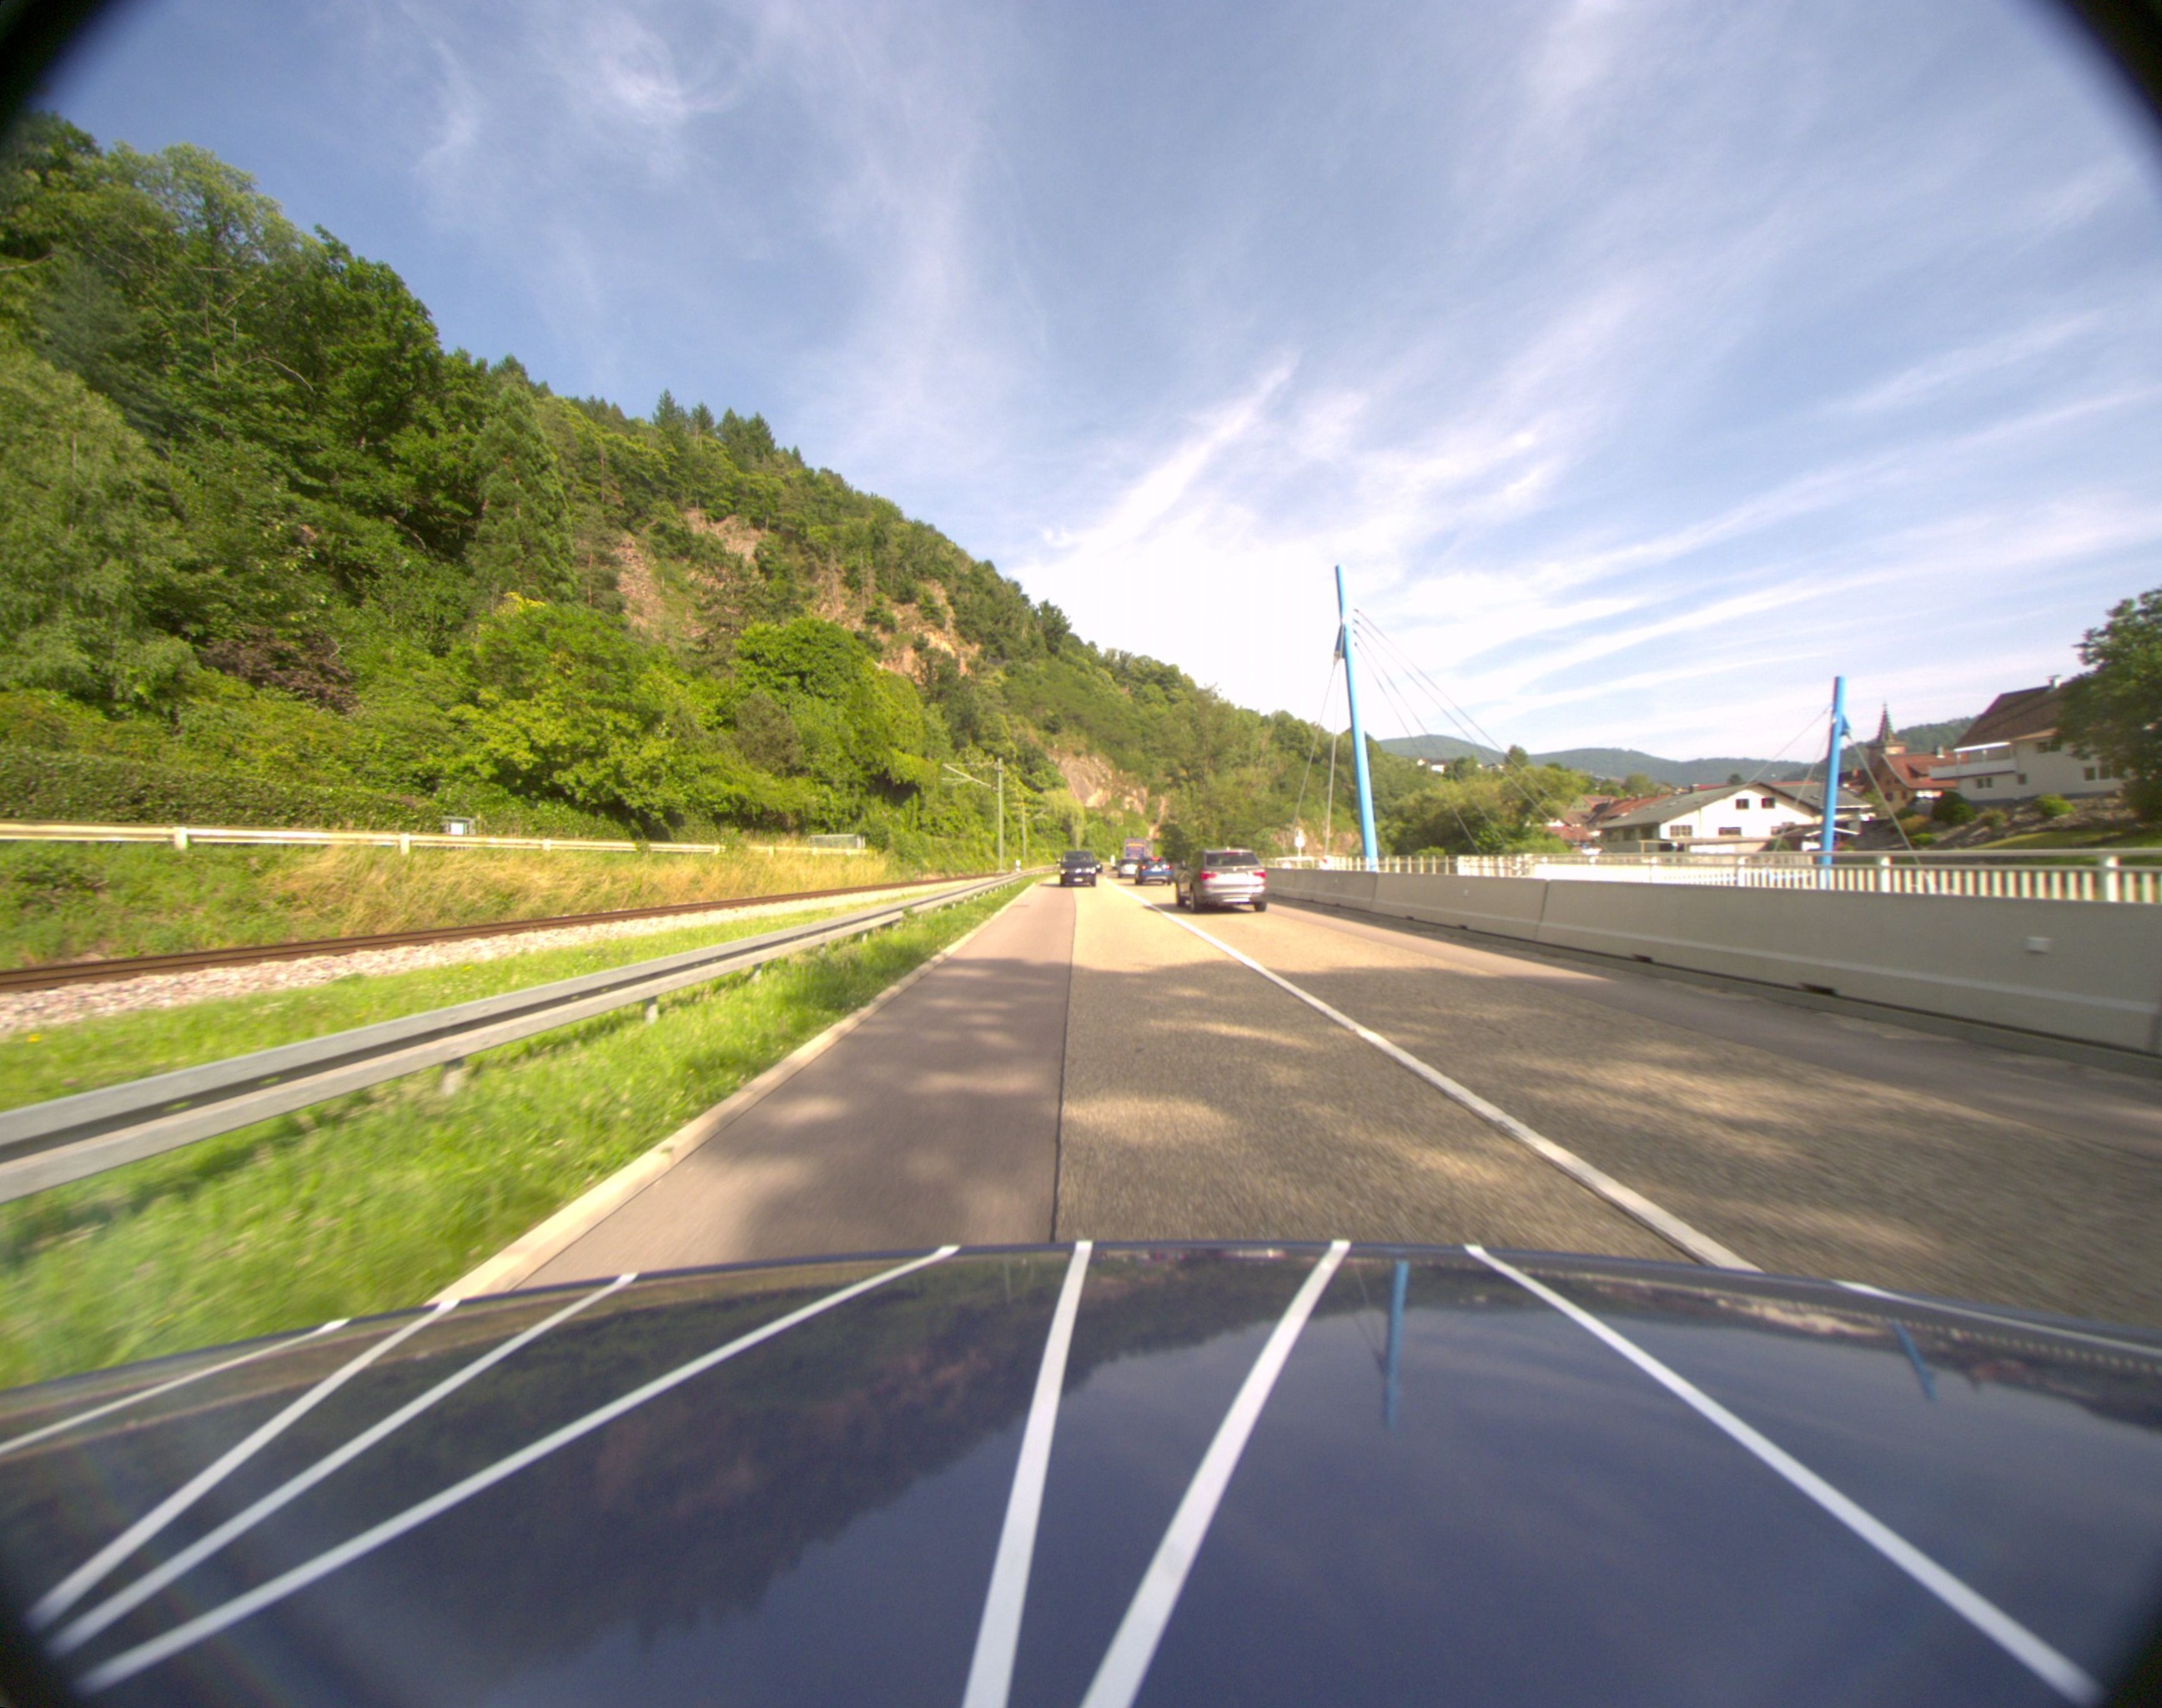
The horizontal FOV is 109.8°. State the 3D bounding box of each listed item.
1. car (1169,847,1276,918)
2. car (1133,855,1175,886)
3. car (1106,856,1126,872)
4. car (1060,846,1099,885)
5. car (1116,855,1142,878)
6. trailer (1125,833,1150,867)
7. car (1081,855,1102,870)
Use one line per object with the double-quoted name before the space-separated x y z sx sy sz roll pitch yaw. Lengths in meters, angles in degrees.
"car" 3.654 0.686 20.504 1.998 1.619 4.507 -2 0 0
"car" 3.945 0.844 41.619 1.803 1.547 4.331 -2 0 -1
"car" 3.505 1.029 76.879 1.841 1.487 4.936 -1 0 2
"car" -0.138 0.645 40.594 1.999 2.001 4.000 0 -2 -2
"car" 3.733 0.955 59.672 1.778 1.660 4.647 0 0 0
"trailer" 7.126 -0.505 96.167 2.863 3.989 13.674 0 0 4
"car" 1.146 0.896 81.168 1.998 1.486 4.221 1 0 3
